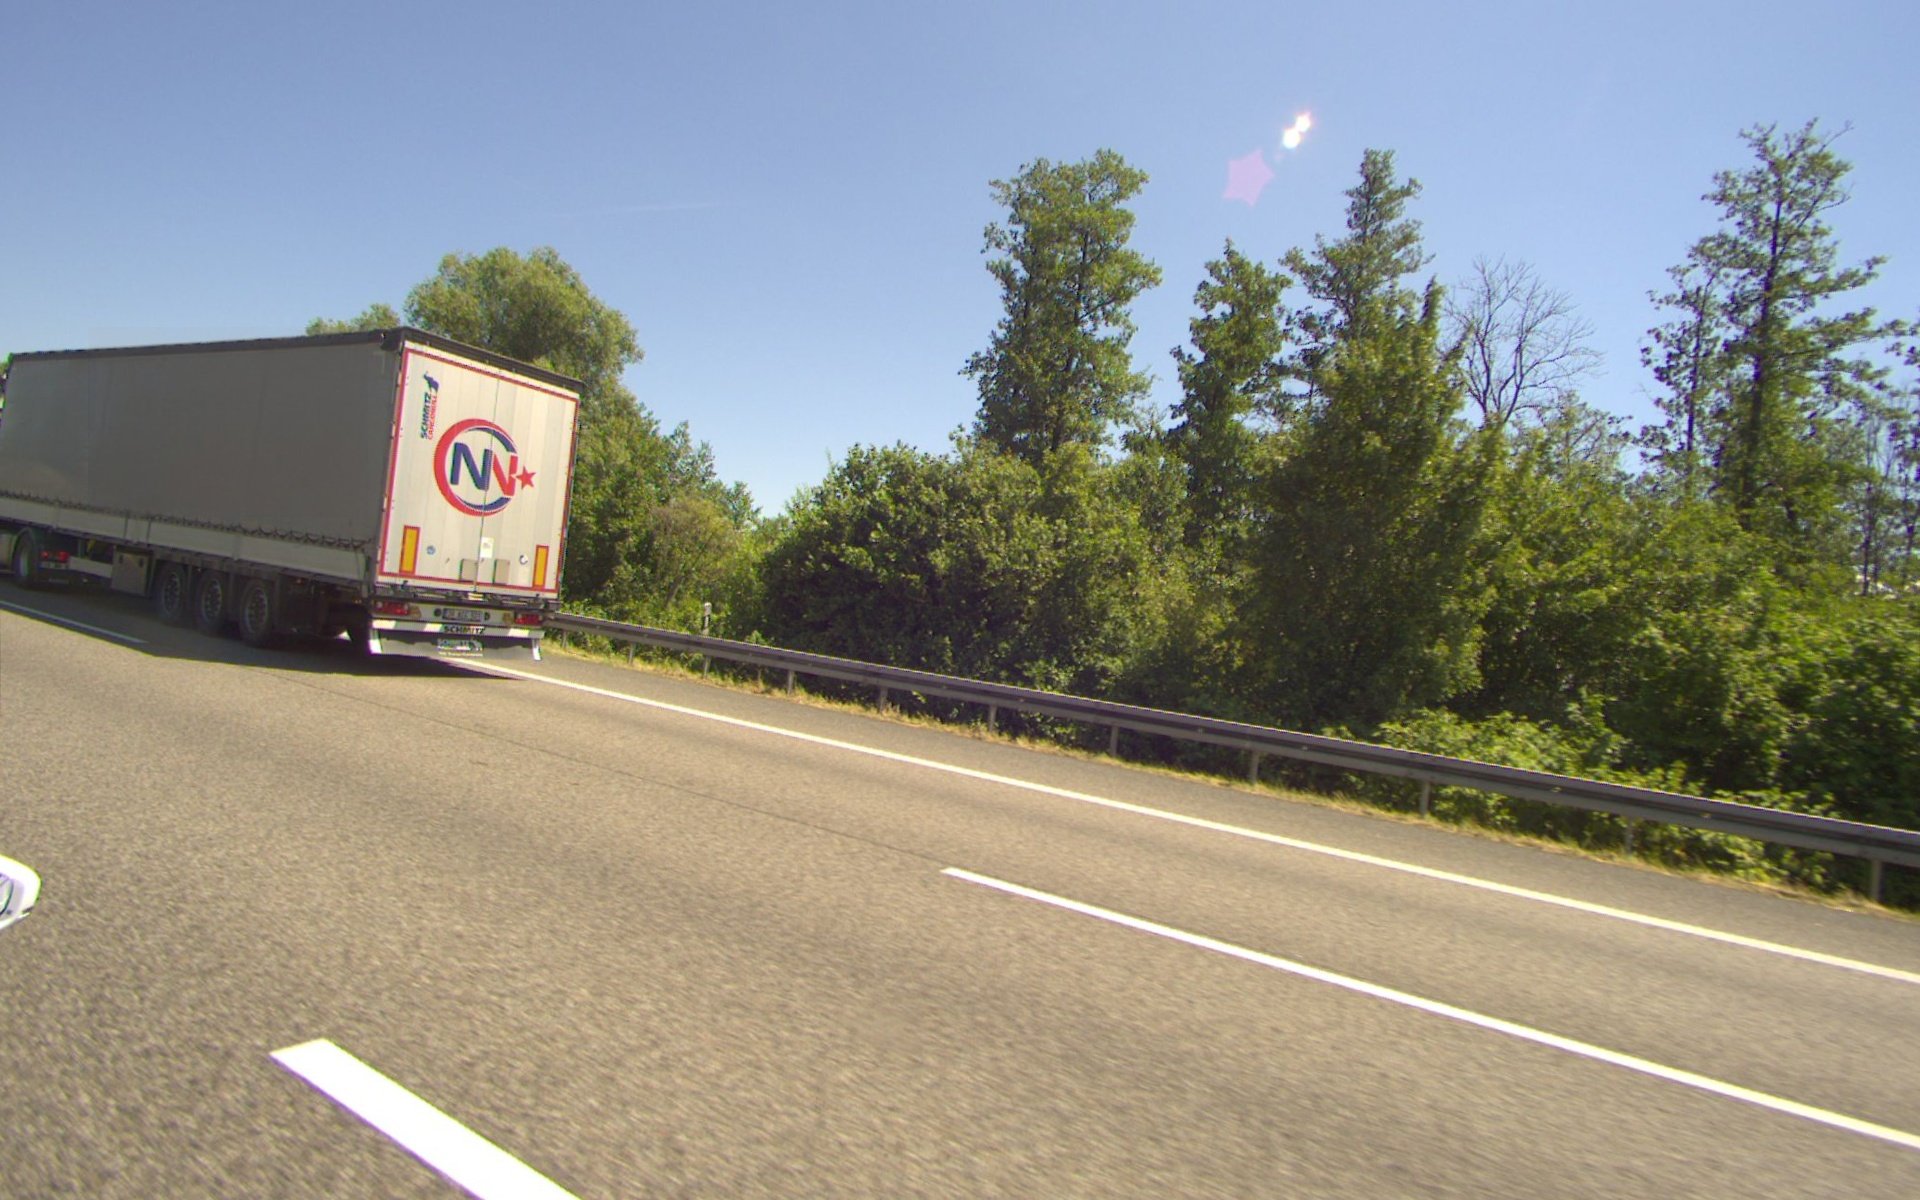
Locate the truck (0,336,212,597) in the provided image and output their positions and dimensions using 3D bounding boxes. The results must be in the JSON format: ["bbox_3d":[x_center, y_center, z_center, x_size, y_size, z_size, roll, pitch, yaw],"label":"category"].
[{"bbox_3d":[-17.914,-2.580,20.013,5.344,4.337,2.611,6,-1,31],"label":"truck"}]

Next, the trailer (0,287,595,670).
[{"bbox_3d":[-11.778,-1.956,16.251,13.827,4.311,2.629,6,-1,32],"label":"trailer"}]
